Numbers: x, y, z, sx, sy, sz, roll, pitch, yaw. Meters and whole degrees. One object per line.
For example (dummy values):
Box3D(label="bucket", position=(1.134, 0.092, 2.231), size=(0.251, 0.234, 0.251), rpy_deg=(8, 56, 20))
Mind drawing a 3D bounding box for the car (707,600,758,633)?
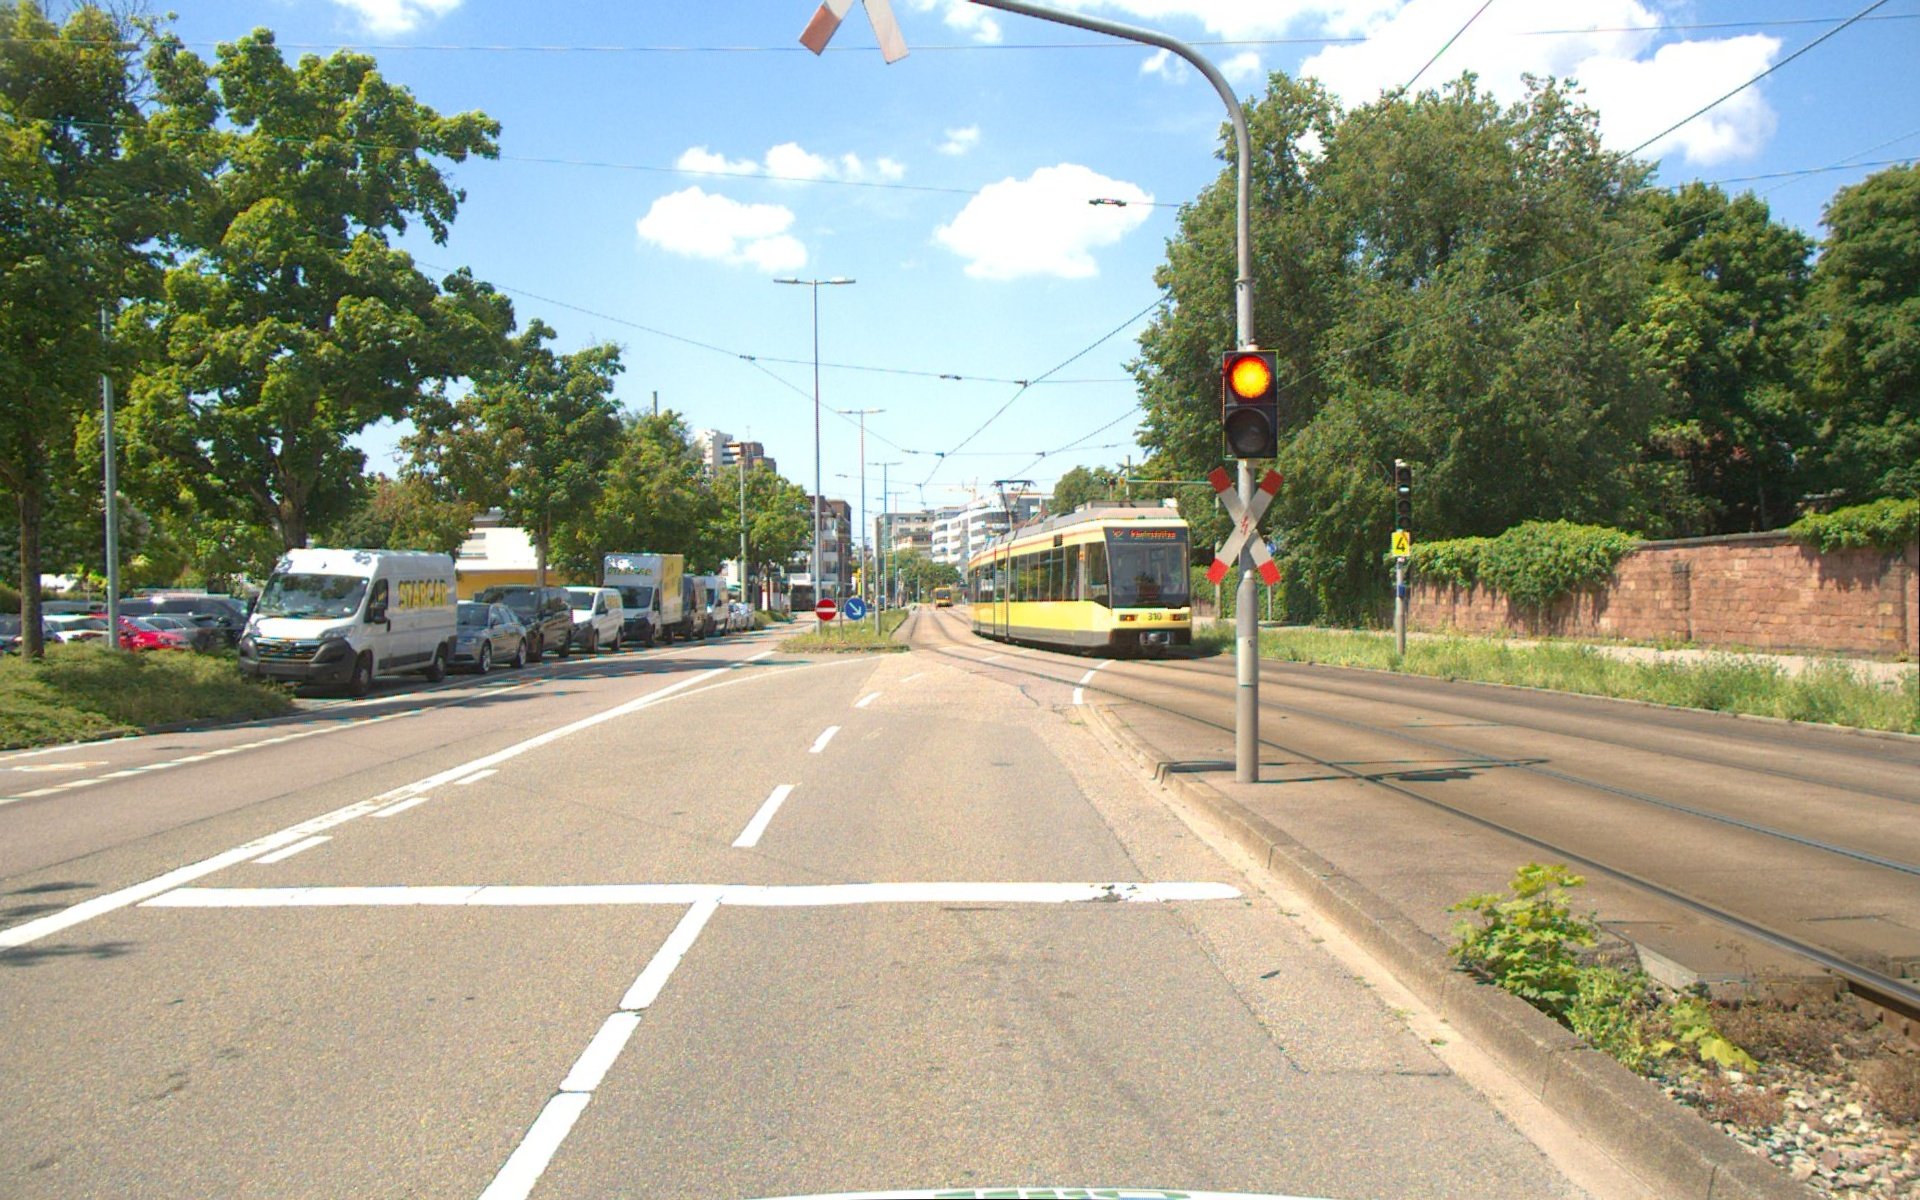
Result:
Box3D(label="car", position=(-11.975, 0.844, 87.343), size=(2.019, 1.609, 4.870), rpy_deg=(-1, 0, -1))

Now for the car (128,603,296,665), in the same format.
Box3D(label="car", position=(-21.257, 0.948, 47.108), size=(3.907, 1.634, 1.804), rpy_deg=(-1, 0, -3))

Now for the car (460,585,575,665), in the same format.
Box3D(label="car", position=(-11.392, 0.607, 42.829), size=(1.830, 1.928, 4.270), rpy_deg=(-1, 0, -1))

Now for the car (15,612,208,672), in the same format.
Box3D(label="car", position=(-21.370, 1.045, 41.764), size=(3.907, 1.362, 1.804), rpy_deg=(-1, 0, -3))

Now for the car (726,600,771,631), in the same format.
Box3D(label="car", position=(-12.061, 0.867, 94.567), size=(2.019, 1.609, 4.870), rpy_deg=(-1, 0, -1))

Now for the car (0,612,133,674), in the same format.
Box3D(label="car", position=(-22.013, 1.030, 39.168), size=(3.907, 1.362, 1.804), rpy_deg=(-1, 0, -3))

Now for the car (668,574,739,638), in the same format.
Box3D(label="car", position=(-11.370, 0.233, 73.624), size=(2.112, 2.685, 5.612), rpy_deg=(2, 0, 1))

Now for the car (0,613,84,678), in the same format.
Box3D(label="car", position=(-21.801, 1.031, 36.536), size=(3.907, 1.362, 1.804), rpy_deg=(-1, 0, -3))

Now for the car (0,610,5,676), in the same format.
Box3D(label="car", position=(-21.598, 0.928, 33.079), size=(3.907, 1.362, 1.804), rpy_deg=(-1, 0, -3))

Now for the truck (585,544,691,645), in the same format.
Box3D(label="truck", position=(-11.250, -0.204, 58.324), size=(2.112, 3.266, 7.083), rpy_deg=(2, 0, 1))

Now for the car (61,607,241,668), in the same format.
Box3D(label="car", position=(-21.630, 0.993, 44.325), size=(3.907, 1.467, 1.804), rpy_deg=(-1, 0, -2))

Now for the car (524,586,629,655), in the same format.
Box3D(label="car", position=(-11.457, 0.570, 49.725), size=(2.019, 1.931, 4.870), rpy_deg=(-1, 0, -1))

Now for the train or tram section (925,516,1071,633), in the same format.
Box3D(label="train or tram section", position=(1.005, -0.902, 63.466), size=(2.887, 3.756, 20.255), rpy_deg=(0, 0, -6))

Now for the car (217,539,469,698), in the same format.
Box3D(label="car", position=(-11.039, 0.277, 30.223), size=(2.112, 2.530, 6.194), rpy_deg=(2, 0, 1))

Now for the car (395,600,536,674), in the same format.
Box3D(label="car", position=(-10.848, 0.771, 36.586), size=(1.830, 1.462, 4.342), rpy_deg=(-1, 0, -1))

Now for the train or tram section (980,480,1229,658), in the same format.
Box3D(label="train or tram section", position=(3.200, -0.726, 44.299), size=(2.888, 3.756, 18.360), rpy_deg=(0, 0, -7))

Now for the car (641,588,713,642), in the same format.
Box3D(label="car", position=(-11.201, 0.567, 65.697), size=(2.019, 2.011, 4.870), rpy_deg=(-1, 0, -1))
